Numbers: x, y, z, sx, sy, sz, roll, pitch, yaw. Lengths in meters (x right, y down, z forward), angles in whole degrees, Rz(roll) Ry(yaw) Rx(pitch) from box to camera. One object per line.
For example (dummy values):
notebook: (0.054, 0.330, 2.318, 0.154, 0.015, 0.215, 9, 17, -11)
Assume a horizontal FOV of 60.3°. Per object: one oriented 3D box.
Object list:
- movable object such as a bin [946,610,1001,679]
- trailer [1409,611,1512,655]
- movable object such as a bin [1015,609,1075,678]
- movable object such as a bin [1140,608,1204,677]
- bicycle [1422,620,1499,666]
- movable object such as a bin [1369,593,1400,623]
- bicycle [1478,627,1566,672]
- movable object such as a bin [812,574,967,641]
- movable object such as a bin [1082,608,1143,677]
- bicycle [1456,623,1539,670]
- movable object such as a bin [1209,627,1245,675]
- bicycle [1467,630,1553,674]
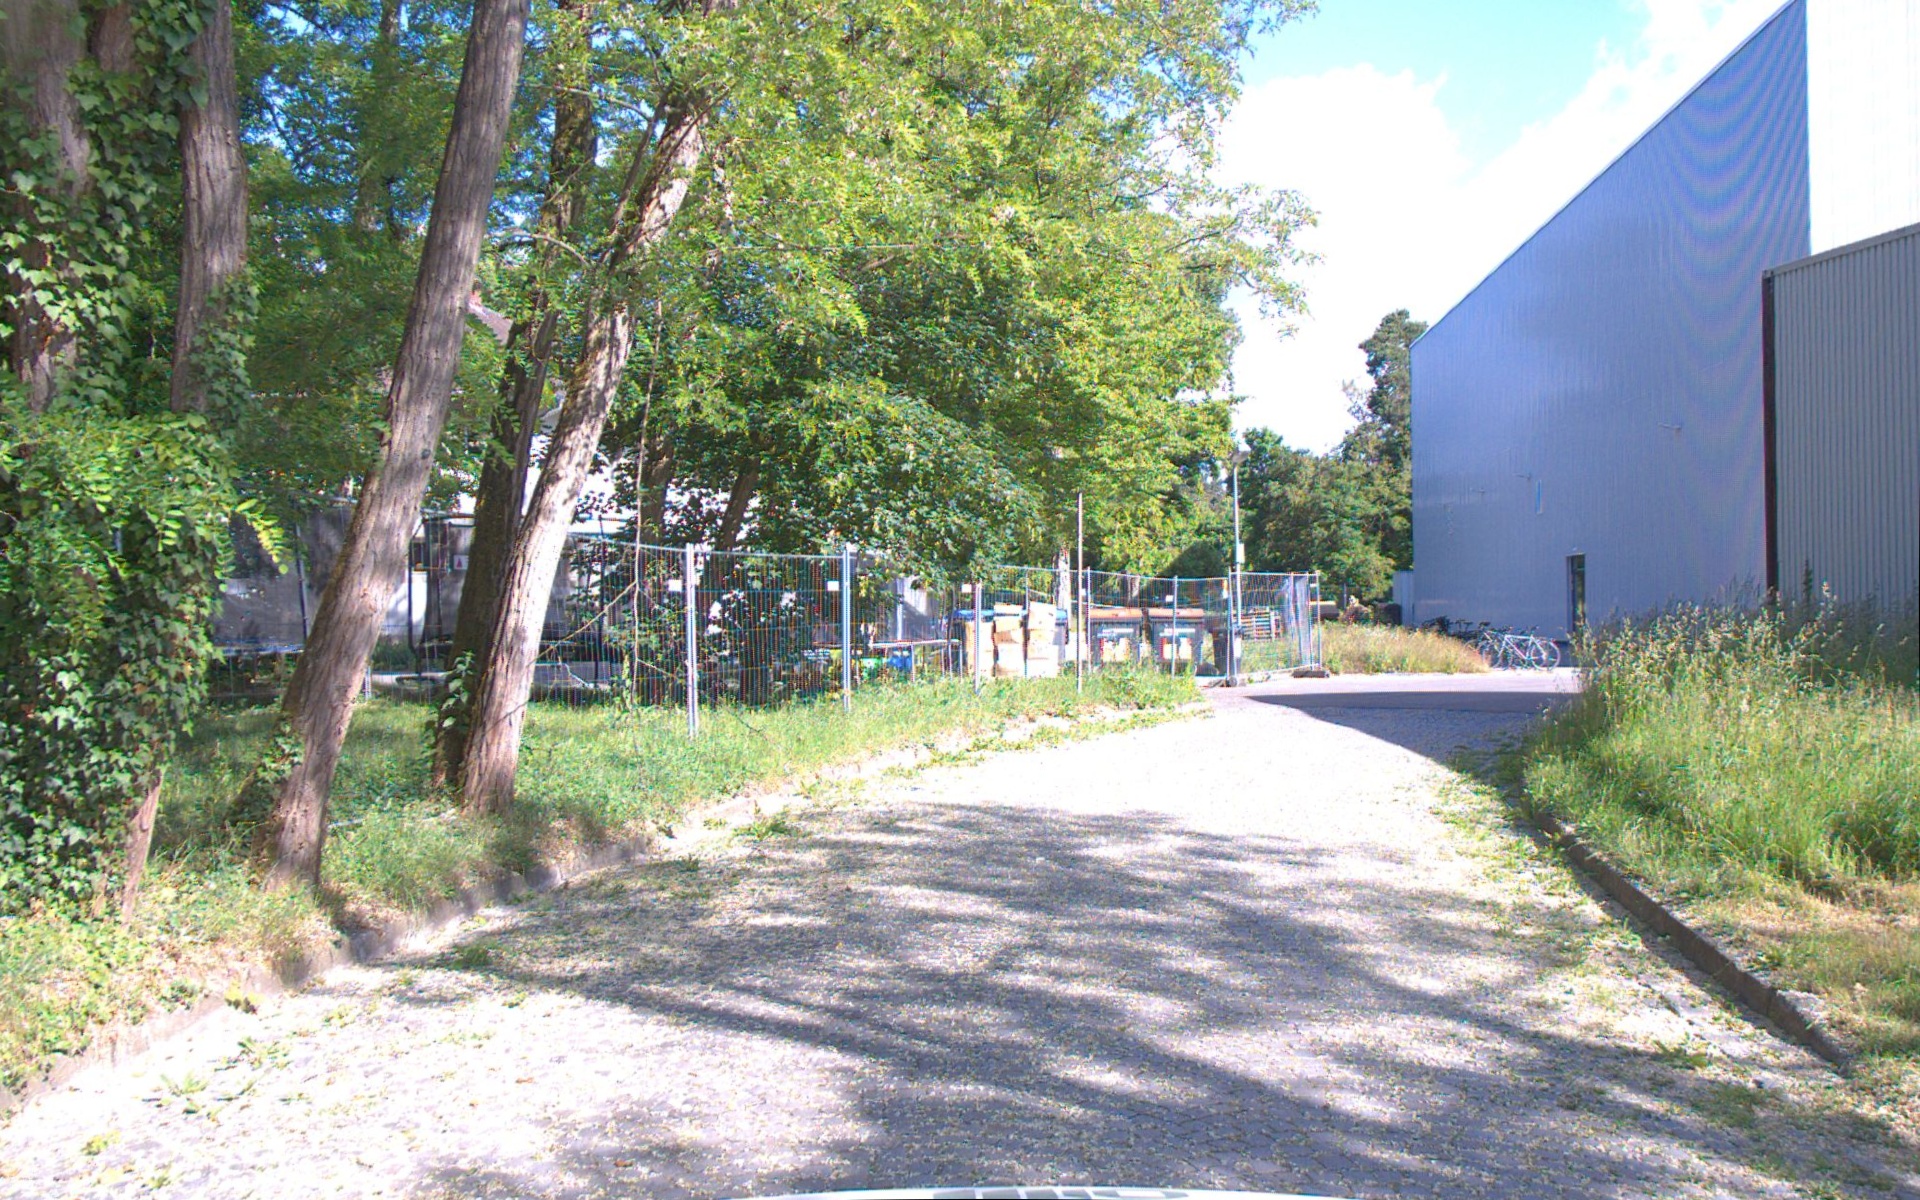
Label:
movable object such as a bin: (0.302, 0.966, 36.162, 1.061, 1.463, 1.057, -1, -1, 7)
trailer: (14.630, 0.951, 48.454, 2.653, 1.221, 1.246, -1, -1, 4)
movable object such as a bin: (1.845, 0.943, 35.994, 1.260, 1.451, 1.033, -1, -1, 2)
movable object such as a bin: (4.587, 0.913, 35.825, 1.261, 1.451, 1.032, -1, -1, 1)
bicycle: (12.953, 1.120, 42.855, 1.844, 1.146, 0.433, -1, -1, 4)
movable object such as a bin: (24.053, 0.463, 93.785, 1.334, 1.685, 2.844, -1, -1, 7)
bicycle: (12.782, 1.126, 37.634, 1.844, 0.995, 0.433, -1, -1, 4)
movable object such as a bin: (-2.219, 0.255, 53.158, 4.769, 2.005, 1.933, -1, -1, 3)
movable object such as a bin: (3.300, 0.914, 35.869, 1.260, 1.451, 1.033, -1, -1, 2)
bicycle: (13.050, 1.124, 40.170, 1.844, 1.101, 0.433, -1, -1, 4)
movable object such as a bin: (5.740, 1.094, 35.567, 0.628, 1.025, 0.605, -1, -1, 20)
bicycle: (12.932, 1.225, 38.912, 1.844, 0.995, 0.433, -1, -1, 4)
